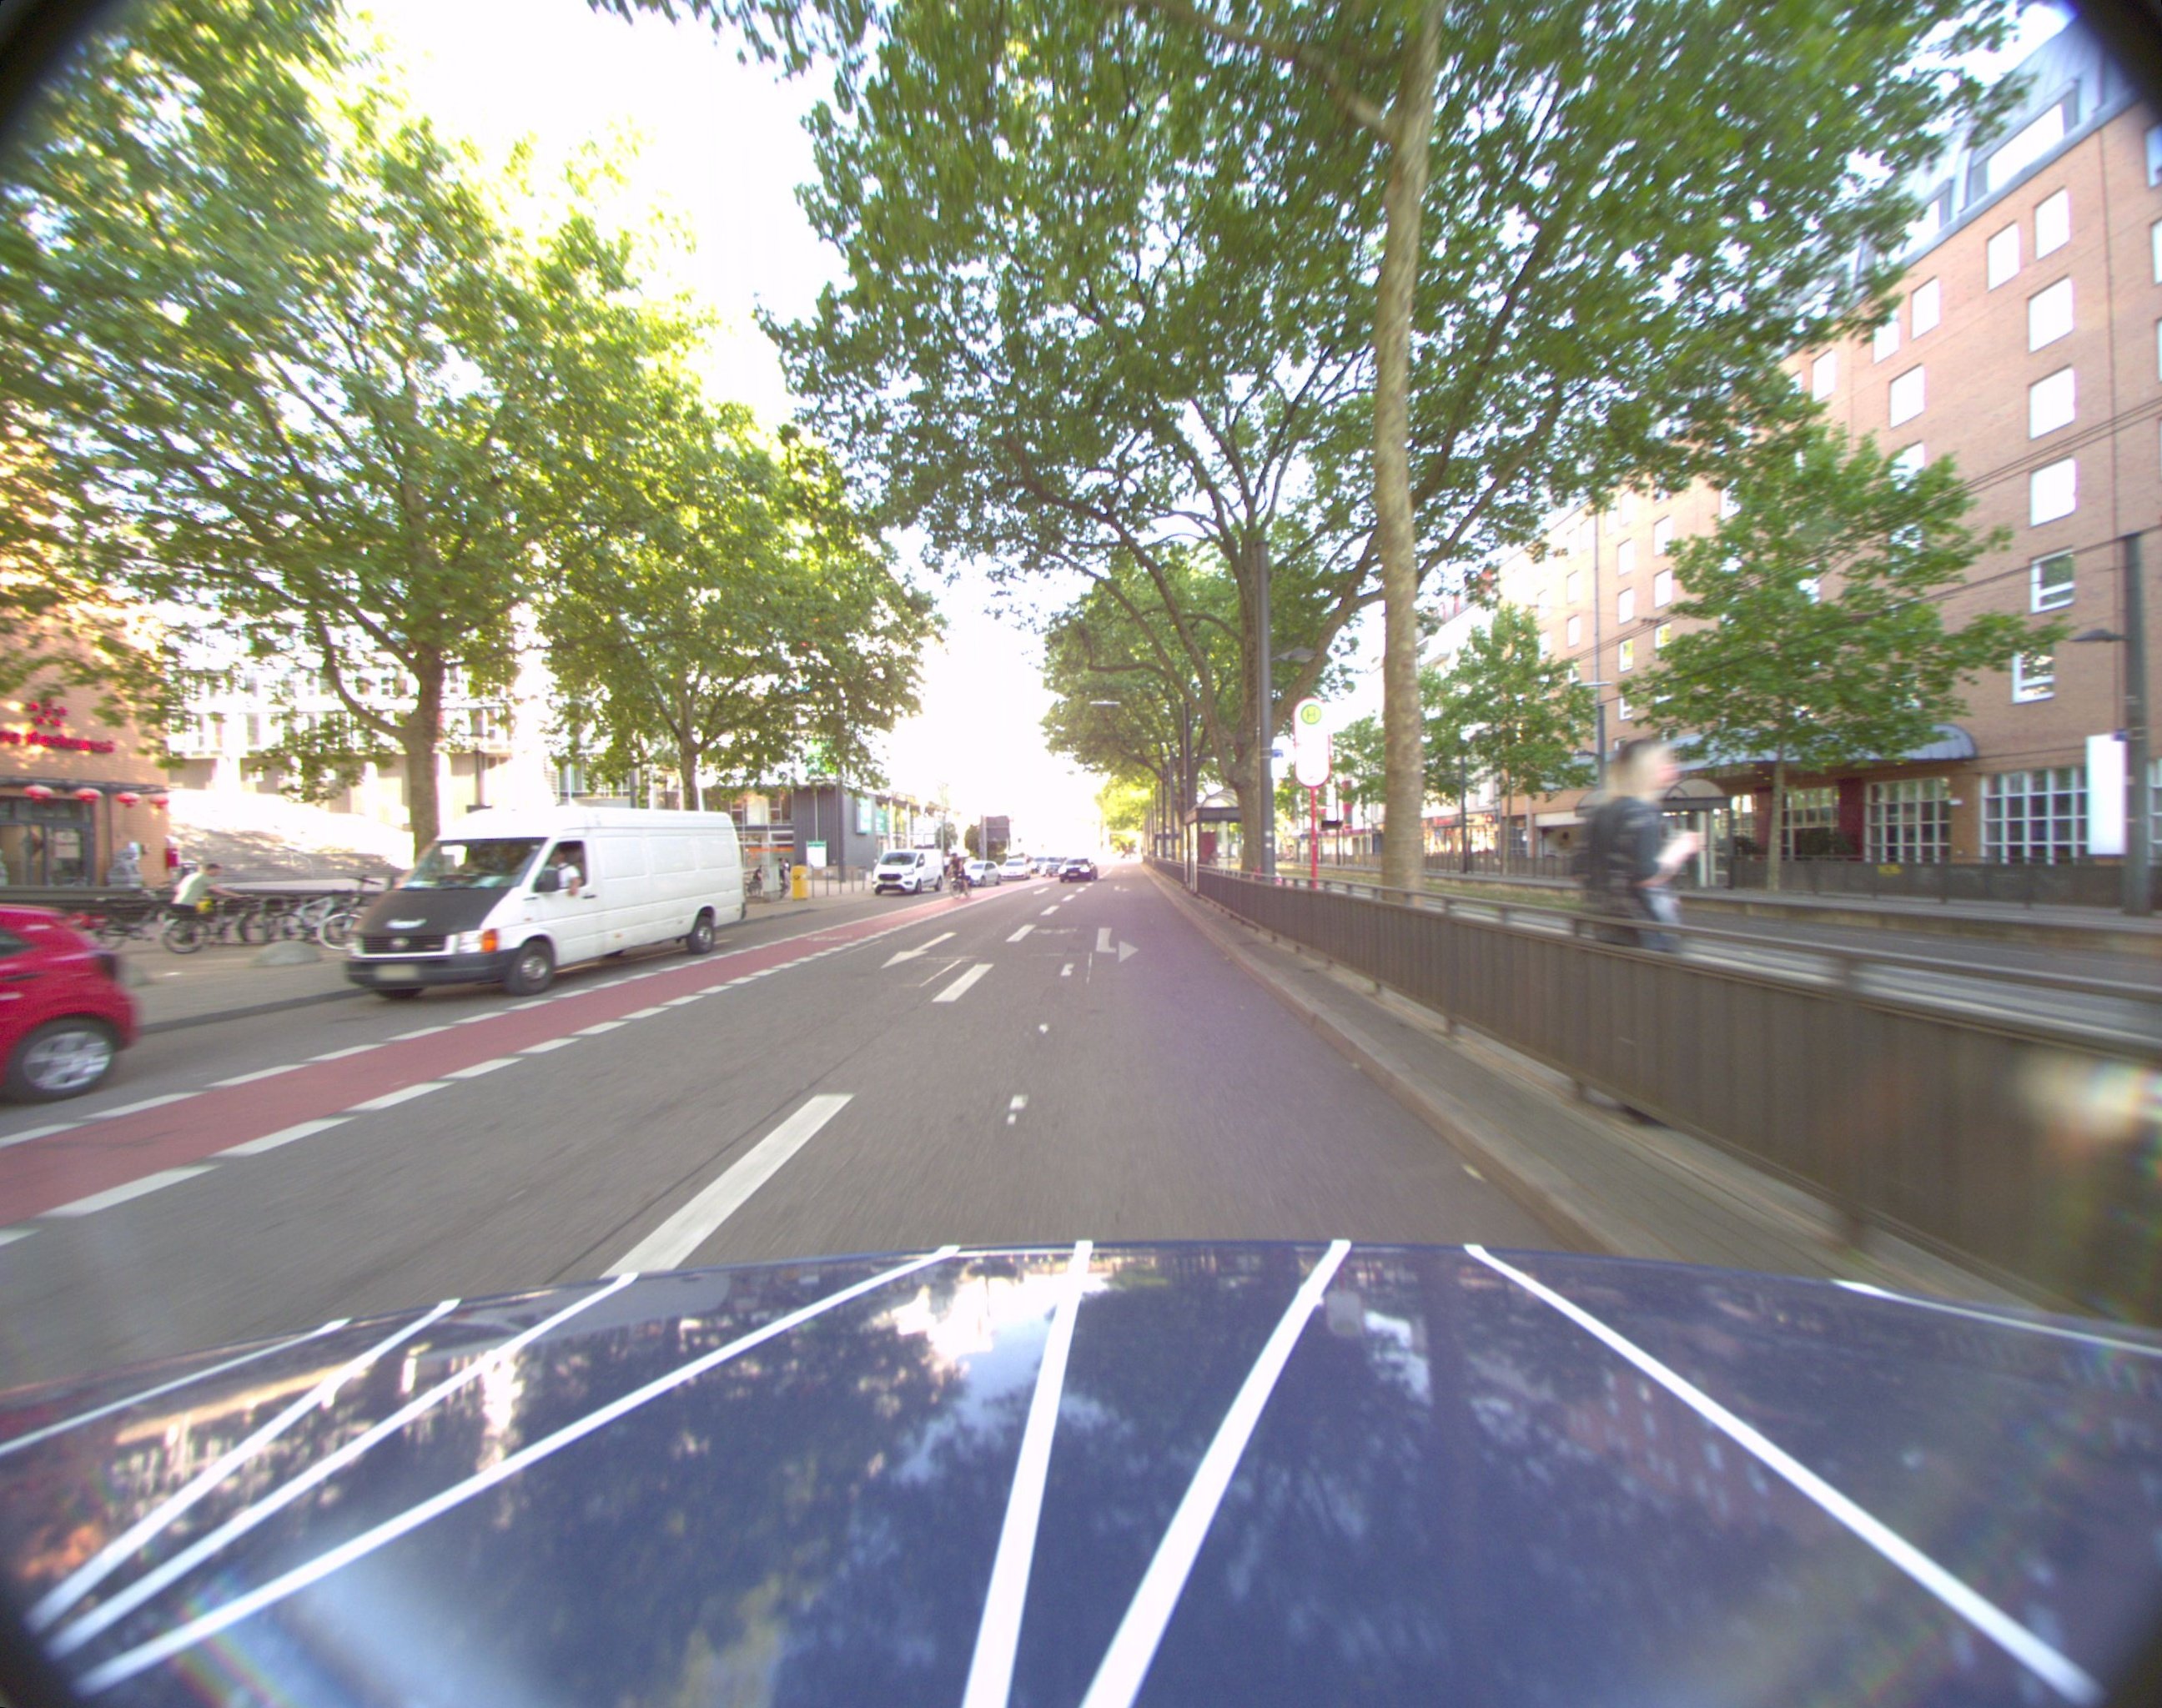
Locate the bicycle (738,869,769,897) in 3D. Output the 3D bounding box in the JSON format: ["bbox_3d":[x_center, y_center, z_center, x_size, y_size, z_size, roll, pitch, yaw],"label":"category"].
[{"bbox_3d":[-13.241,1.159,30.747,0.460,1.023,1.627,-1,1,2],"label":"bicycle"}]

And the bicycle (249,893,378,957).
[{"bbox_3d":[-14.449,1.312,14.371,0.596,1.041,1.656,-1,1,9],"label":"bicycle"}]

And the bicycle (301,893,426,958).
[{"bbox_3d":[-13.285,1.295,14.137,0.596,1.041,1.656,-1,1,9],"label":"bicycle"}]

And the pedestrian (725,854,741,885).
[{"bbox_3d":[-19.547,0.864,42.707,0.540,1.666,0.723,-1,1,0],"label":"pedestrian"}]

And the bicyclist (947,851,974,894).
[{"bbox_3d":[-4.729,0.715,29.829,0.751,1.678,0.715,0,1,18],"label":"bicyclist"}]

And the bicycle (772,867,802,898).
[{"bbox_3d":[-11.814,1.143,30.593,0.514,1.152,1.539,-1,1,2],"label":"bicycle"}]

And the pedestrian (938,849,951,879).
[{"bbox_3d":[-8.475,0.620,47.137,0.591,1.798,0.896,0,1,4],"label":"pedestrian"}]

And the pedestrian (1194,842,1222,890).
[{"bbox_3d":[3.766,0.338,22.567,0.735,1.380,0.640,-2,2,5],"label":"pedestrian"}]

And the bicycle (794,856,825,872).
[{"bbox_3d":[-18.880,0.694,52.930,1.879,1.057,0.700,0,1,2],"label":"bicycle"}]

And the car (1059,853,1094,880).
[{"bbox_3d":[-0.227,0.730,45.171,1.827,1.416,4.346,-3,1,2],"label":"car"}]

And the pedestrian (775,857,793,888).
[{"bbox_3d":[-14.616,0.908,37.381,0.577,1.534,0.638,0,1,10],"label":"pedestrian"}]

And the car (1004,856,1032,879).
[{"bbox_3d":[-4.407,0.933,53.435,1.671,1.455,3.868,-1,1,-1],"label":"car"}]

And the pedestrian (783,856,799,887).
[{"bbox_3d":[-14.553,0.888,38.133,0.516,1.514,0.636,0,1,10],"label":"pedestrian"}]

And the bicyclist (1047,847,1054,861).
[{"bbox_3d":[-3.944,-0.019,97.386,0.743,1.752,1.209,2,1,4],"label":"bicyclist"}]

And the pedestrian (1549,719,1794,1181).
[{"bbox_3d":[2.666,0.398,3.504,0.511,1.889,0.759,-3,2,2],"label":"pedestrian"}]

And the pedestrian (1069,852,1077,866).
[{"bbox_3d":[-0.743,0.419,68.435,0.665,1.218,0.775,-1,1,4],"label":"pedestrian"}]

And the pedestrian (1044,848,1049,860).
[{"bbox_3d":[-4.859,0.003,107.436,0.692,1.573,0.664,1,1,4],"label":"pedestrian"}]

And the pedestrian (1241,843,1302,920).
[{"bbox_3d":[3.602,0.504,14.395,0.979,1.392,0.664,-2,2,5],"label":"pedestrian"}]

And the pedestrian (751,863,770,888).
[{"bbox_3d":[-15.953,1.062,37.847,0.615,1.214,0.677,0,1,7],"label":"pedestrian"}]

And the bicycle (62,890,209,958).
[{"bbox_3d":[-17.906,1.295,14.450,0.596,1.119,1.656,-1,1,9],"label":"bicycle"}]

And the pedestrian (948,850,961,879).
[{"bbox_3d":[-7.837,0.654,47.160,0.564,1.798,0.891,0,1,4],"label":"pedestrian"}]

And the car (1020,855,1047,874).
[{"bbox_3d":[-4.330,0.908,69.632,1.998,1.587,4.000,-1,1,3],"label":"car"}]

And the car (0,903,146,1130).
[{"bbox_3d":[-8.028,1.150,4.035,1.562,1.455,3.621,-2,1,0],"label":"car"}]

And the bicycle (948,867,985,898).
[{"bbox_3d":[-4.461,1.090,29.738,0.550,1.114,2.129,0,1,16],"label":"bicycle"}]

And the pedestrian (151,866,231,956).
[{"bbox_3d":[-16.609,1.048,14.188,0.718,1.622,0.636,-1,1,7],"label":"pedestrian"}]

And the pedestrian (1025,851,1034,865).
[{"bbox_3d":[-5.762,0.479,85.146,0.753,1.566,0.912,-1,1,6],"label":"pedestrian"}]

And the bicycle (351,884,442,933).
[{"bbox_3d":[-16.392,1.278,18.253,0.597,1.041,1.655,-1,1,4],"label":"bicycle"}]

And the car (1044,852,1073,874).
[{"bbox_3d":[-1.712,0.651,58.577,1.785,1.629,4.022,-1,1,5],"label":"car"}]

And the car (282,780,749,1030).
[{"bbox_3d":[-7.751,0.543,11.759,1.998,2.708,6.561,-3,1,2],"label":"car"}]

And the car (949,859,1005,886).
[{"bbox_3d":[-5.838,1.024,43.167,1.784,1.411,4.025,-1,1,14],"label":"car"}]

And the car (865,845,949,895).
[{"bbox_3d":[-7.884,0.662,34.999,2.127,2.122,5.291,-1,1,6],"label":"car"}]

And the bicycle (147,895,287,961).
[{"bbox_3d":[-16.051,1.346,14.179,0.596,1.041,1.655,-1,1,6],"label":"bicycle"}]
